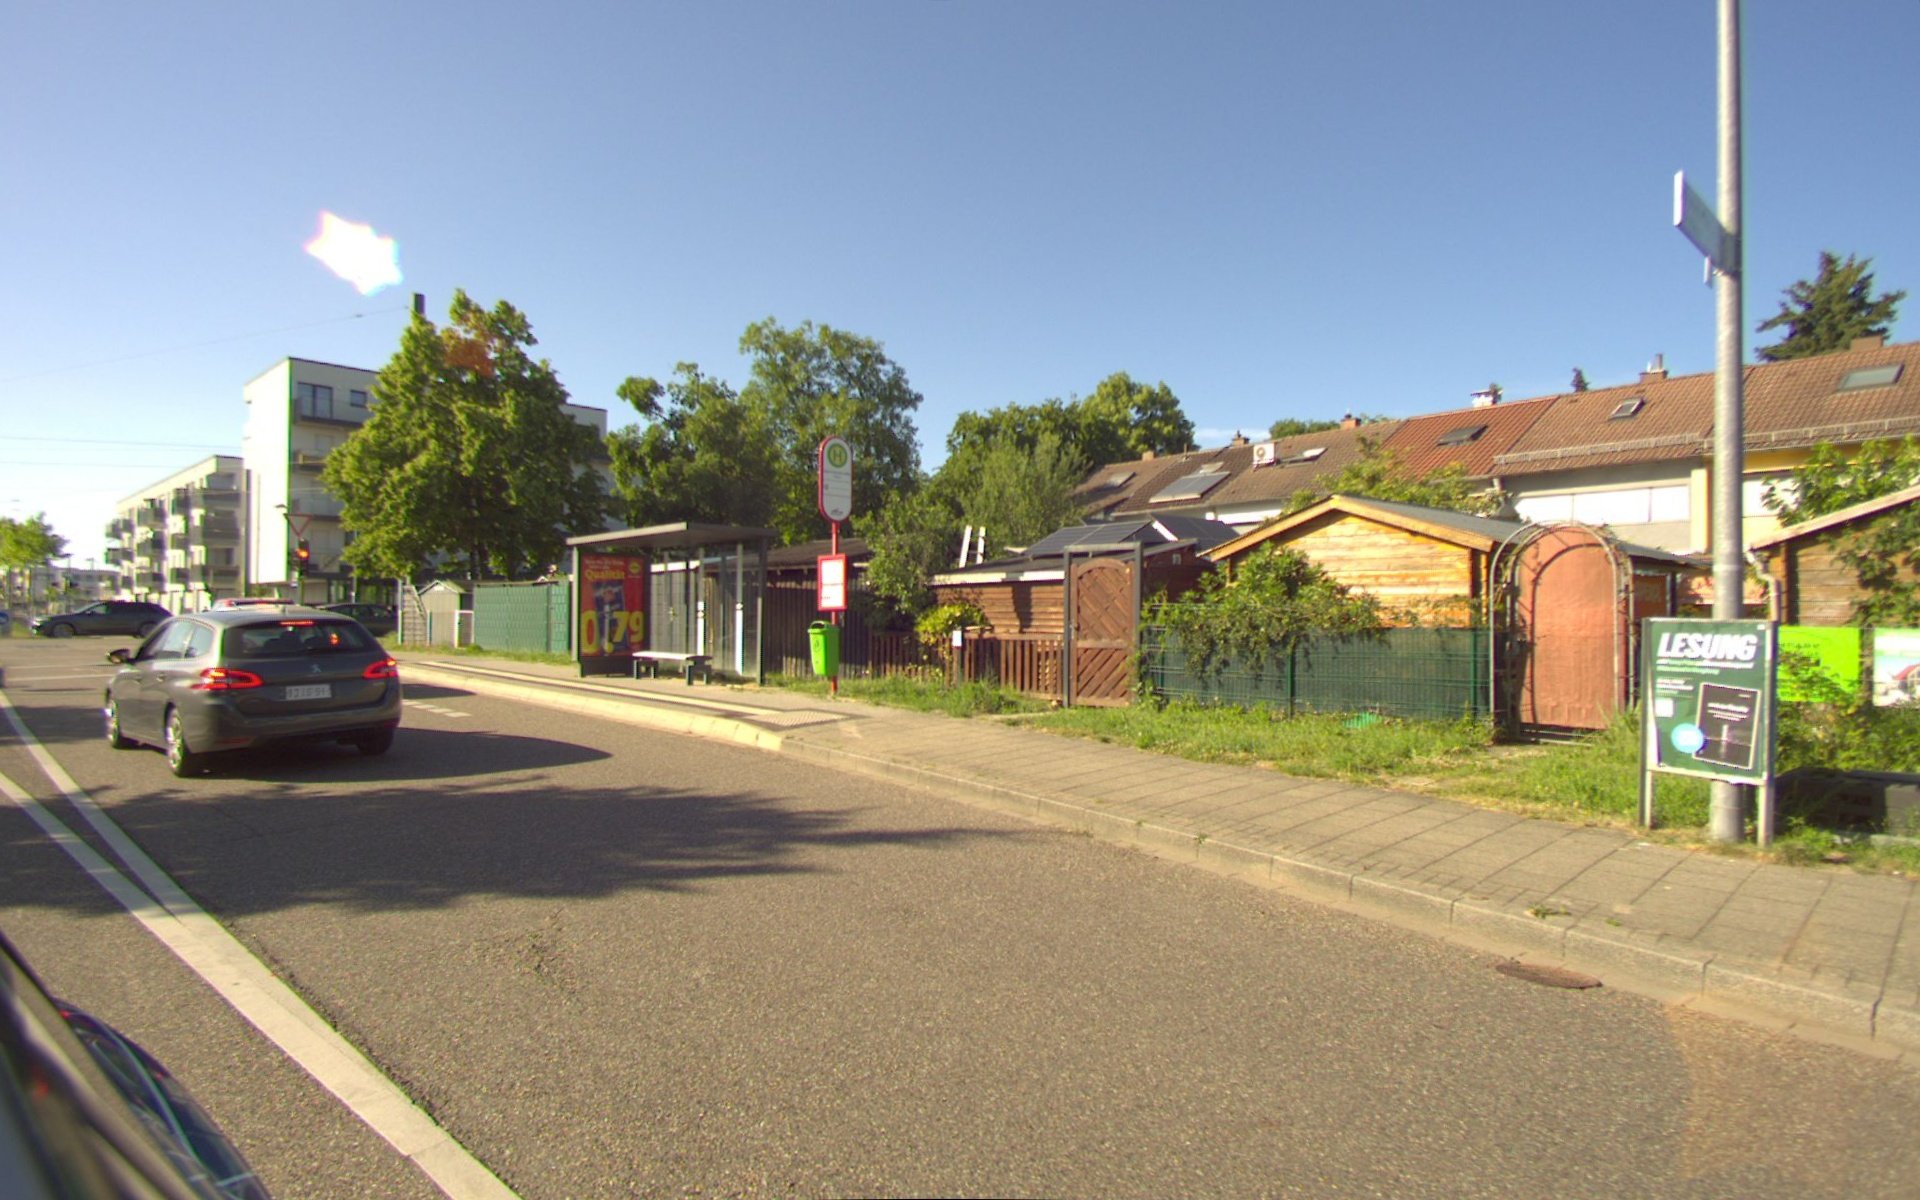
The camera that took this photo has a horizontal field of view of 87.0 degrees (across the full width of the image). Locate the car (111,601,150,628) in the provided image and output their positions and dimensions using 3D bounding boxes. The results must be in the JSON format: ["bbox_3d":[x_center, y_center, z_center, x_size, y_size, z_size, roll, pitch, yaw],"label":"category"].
[{"bbox_3d":[-66.308,1.138,80.892,1.971,2.029,4.003,2,0,-45],"label":"car"}]

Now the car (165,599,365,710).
[{"bbox_3d":[-11.839,0.804,17.107,2.183,1.603,4.539,1,-1,-42],"label":"car"}]

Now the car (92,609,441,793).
[{"bbox_3d":[-7.259,0.844,10.407,4.449,1.454,1.972,-1,0,42],"label":"car"}]

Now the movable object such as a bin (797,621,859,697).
[{"bbox_3d":[-1.809,0.791,13.845,0.586,0.975,0.559,-4,2,-44],"label":"movable object such as a bin"}]

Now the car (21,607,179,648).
[{"bbox_3d":[-37.956,1.200,44.779,2.000,1.751,5.125,-1,-2,43],"label":"car"}]

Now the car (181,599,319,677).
[{"bbox_3d":[-16.119,0.807,22.900,1.917,1.601,4.184,1,-1,-44],"label":"car"}]

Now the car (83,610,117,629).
[{"bbox_3d":[-77.932,1.727,91.691,4.001,1.565,1.971,2,0,44],"label":"car"}]

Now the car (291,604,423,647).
[{"bbox_3d":[-25.334,1.077,42.652,1.996,1.685,4.355,1,-1,35],"label":"car"}]
